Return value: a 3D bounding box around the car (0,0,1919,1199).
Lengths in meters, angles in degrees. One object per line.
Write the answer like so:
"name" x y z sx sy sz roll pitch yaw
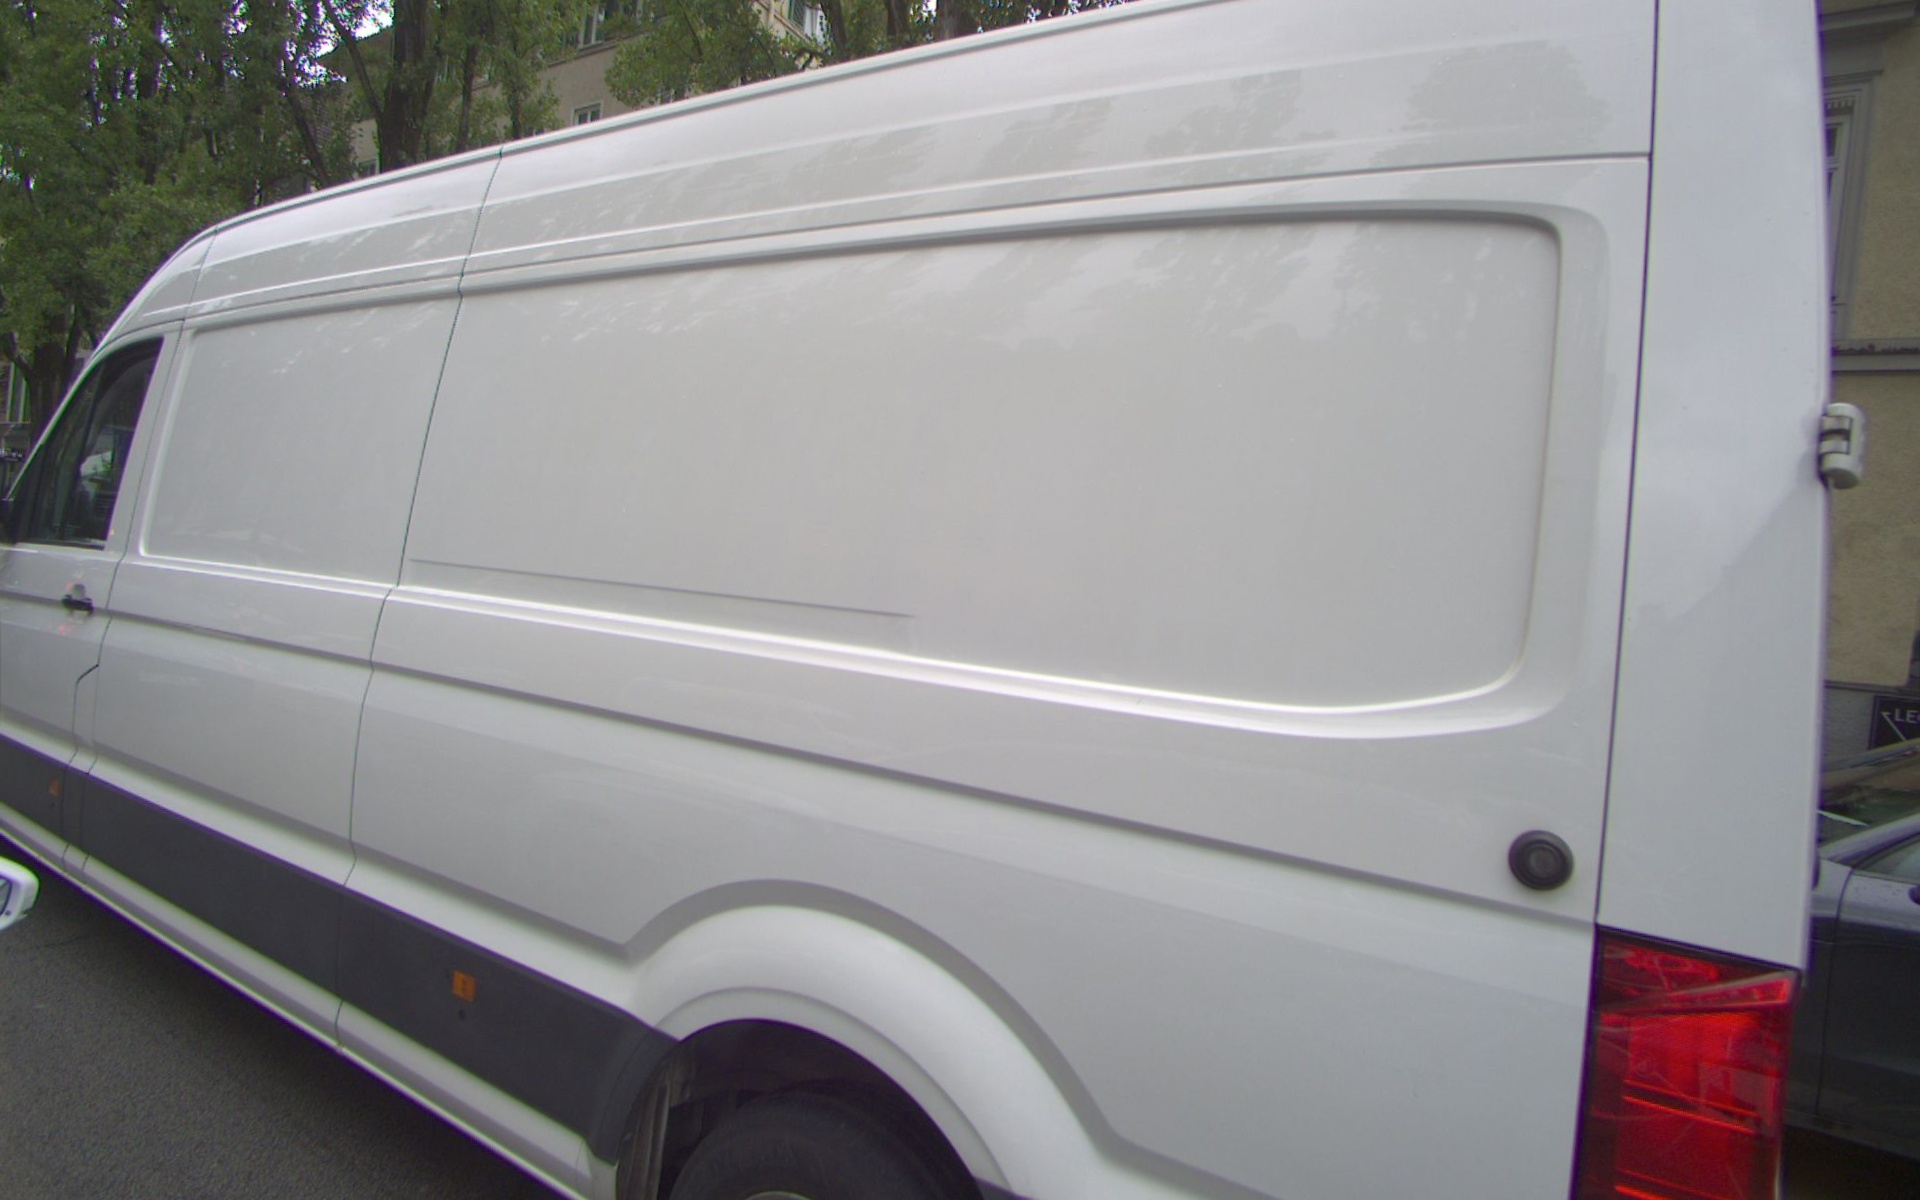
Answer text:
"car" -1.441 0.112 3.333 6.619 2.522 2.066 7 0 32

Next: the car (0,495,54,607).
"car" -14.873 -0.881 14.643 3.465 1.510 1.543 6 -1 33

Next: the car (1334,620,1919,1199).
"car" 3.792 1.192 3.386 4.372 1.657 1.807 7 -1 30

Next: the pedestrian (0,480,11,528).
"pedestrian" -35.307 -3.553 36.715 0.745 1.707 0.674 6 1 27

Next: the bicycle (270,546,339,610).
"bicycle" -11.866 -0.404 18.202 1.429 1.009 0.349 6 2 28

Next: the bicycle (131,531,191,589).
"bicycle" -15.795 -0.795 19.871 1.429 1.009 0.349 6 2 28

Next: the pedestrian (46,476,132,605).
"pedestrian" -13.167 -0.893 15.230 0.824 1.795 0.861 6 1 -40

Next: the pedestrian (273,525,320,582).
"pedestrian" -17.059 -1.185 25.855 0.787 1.340 0.639 7 1 31
